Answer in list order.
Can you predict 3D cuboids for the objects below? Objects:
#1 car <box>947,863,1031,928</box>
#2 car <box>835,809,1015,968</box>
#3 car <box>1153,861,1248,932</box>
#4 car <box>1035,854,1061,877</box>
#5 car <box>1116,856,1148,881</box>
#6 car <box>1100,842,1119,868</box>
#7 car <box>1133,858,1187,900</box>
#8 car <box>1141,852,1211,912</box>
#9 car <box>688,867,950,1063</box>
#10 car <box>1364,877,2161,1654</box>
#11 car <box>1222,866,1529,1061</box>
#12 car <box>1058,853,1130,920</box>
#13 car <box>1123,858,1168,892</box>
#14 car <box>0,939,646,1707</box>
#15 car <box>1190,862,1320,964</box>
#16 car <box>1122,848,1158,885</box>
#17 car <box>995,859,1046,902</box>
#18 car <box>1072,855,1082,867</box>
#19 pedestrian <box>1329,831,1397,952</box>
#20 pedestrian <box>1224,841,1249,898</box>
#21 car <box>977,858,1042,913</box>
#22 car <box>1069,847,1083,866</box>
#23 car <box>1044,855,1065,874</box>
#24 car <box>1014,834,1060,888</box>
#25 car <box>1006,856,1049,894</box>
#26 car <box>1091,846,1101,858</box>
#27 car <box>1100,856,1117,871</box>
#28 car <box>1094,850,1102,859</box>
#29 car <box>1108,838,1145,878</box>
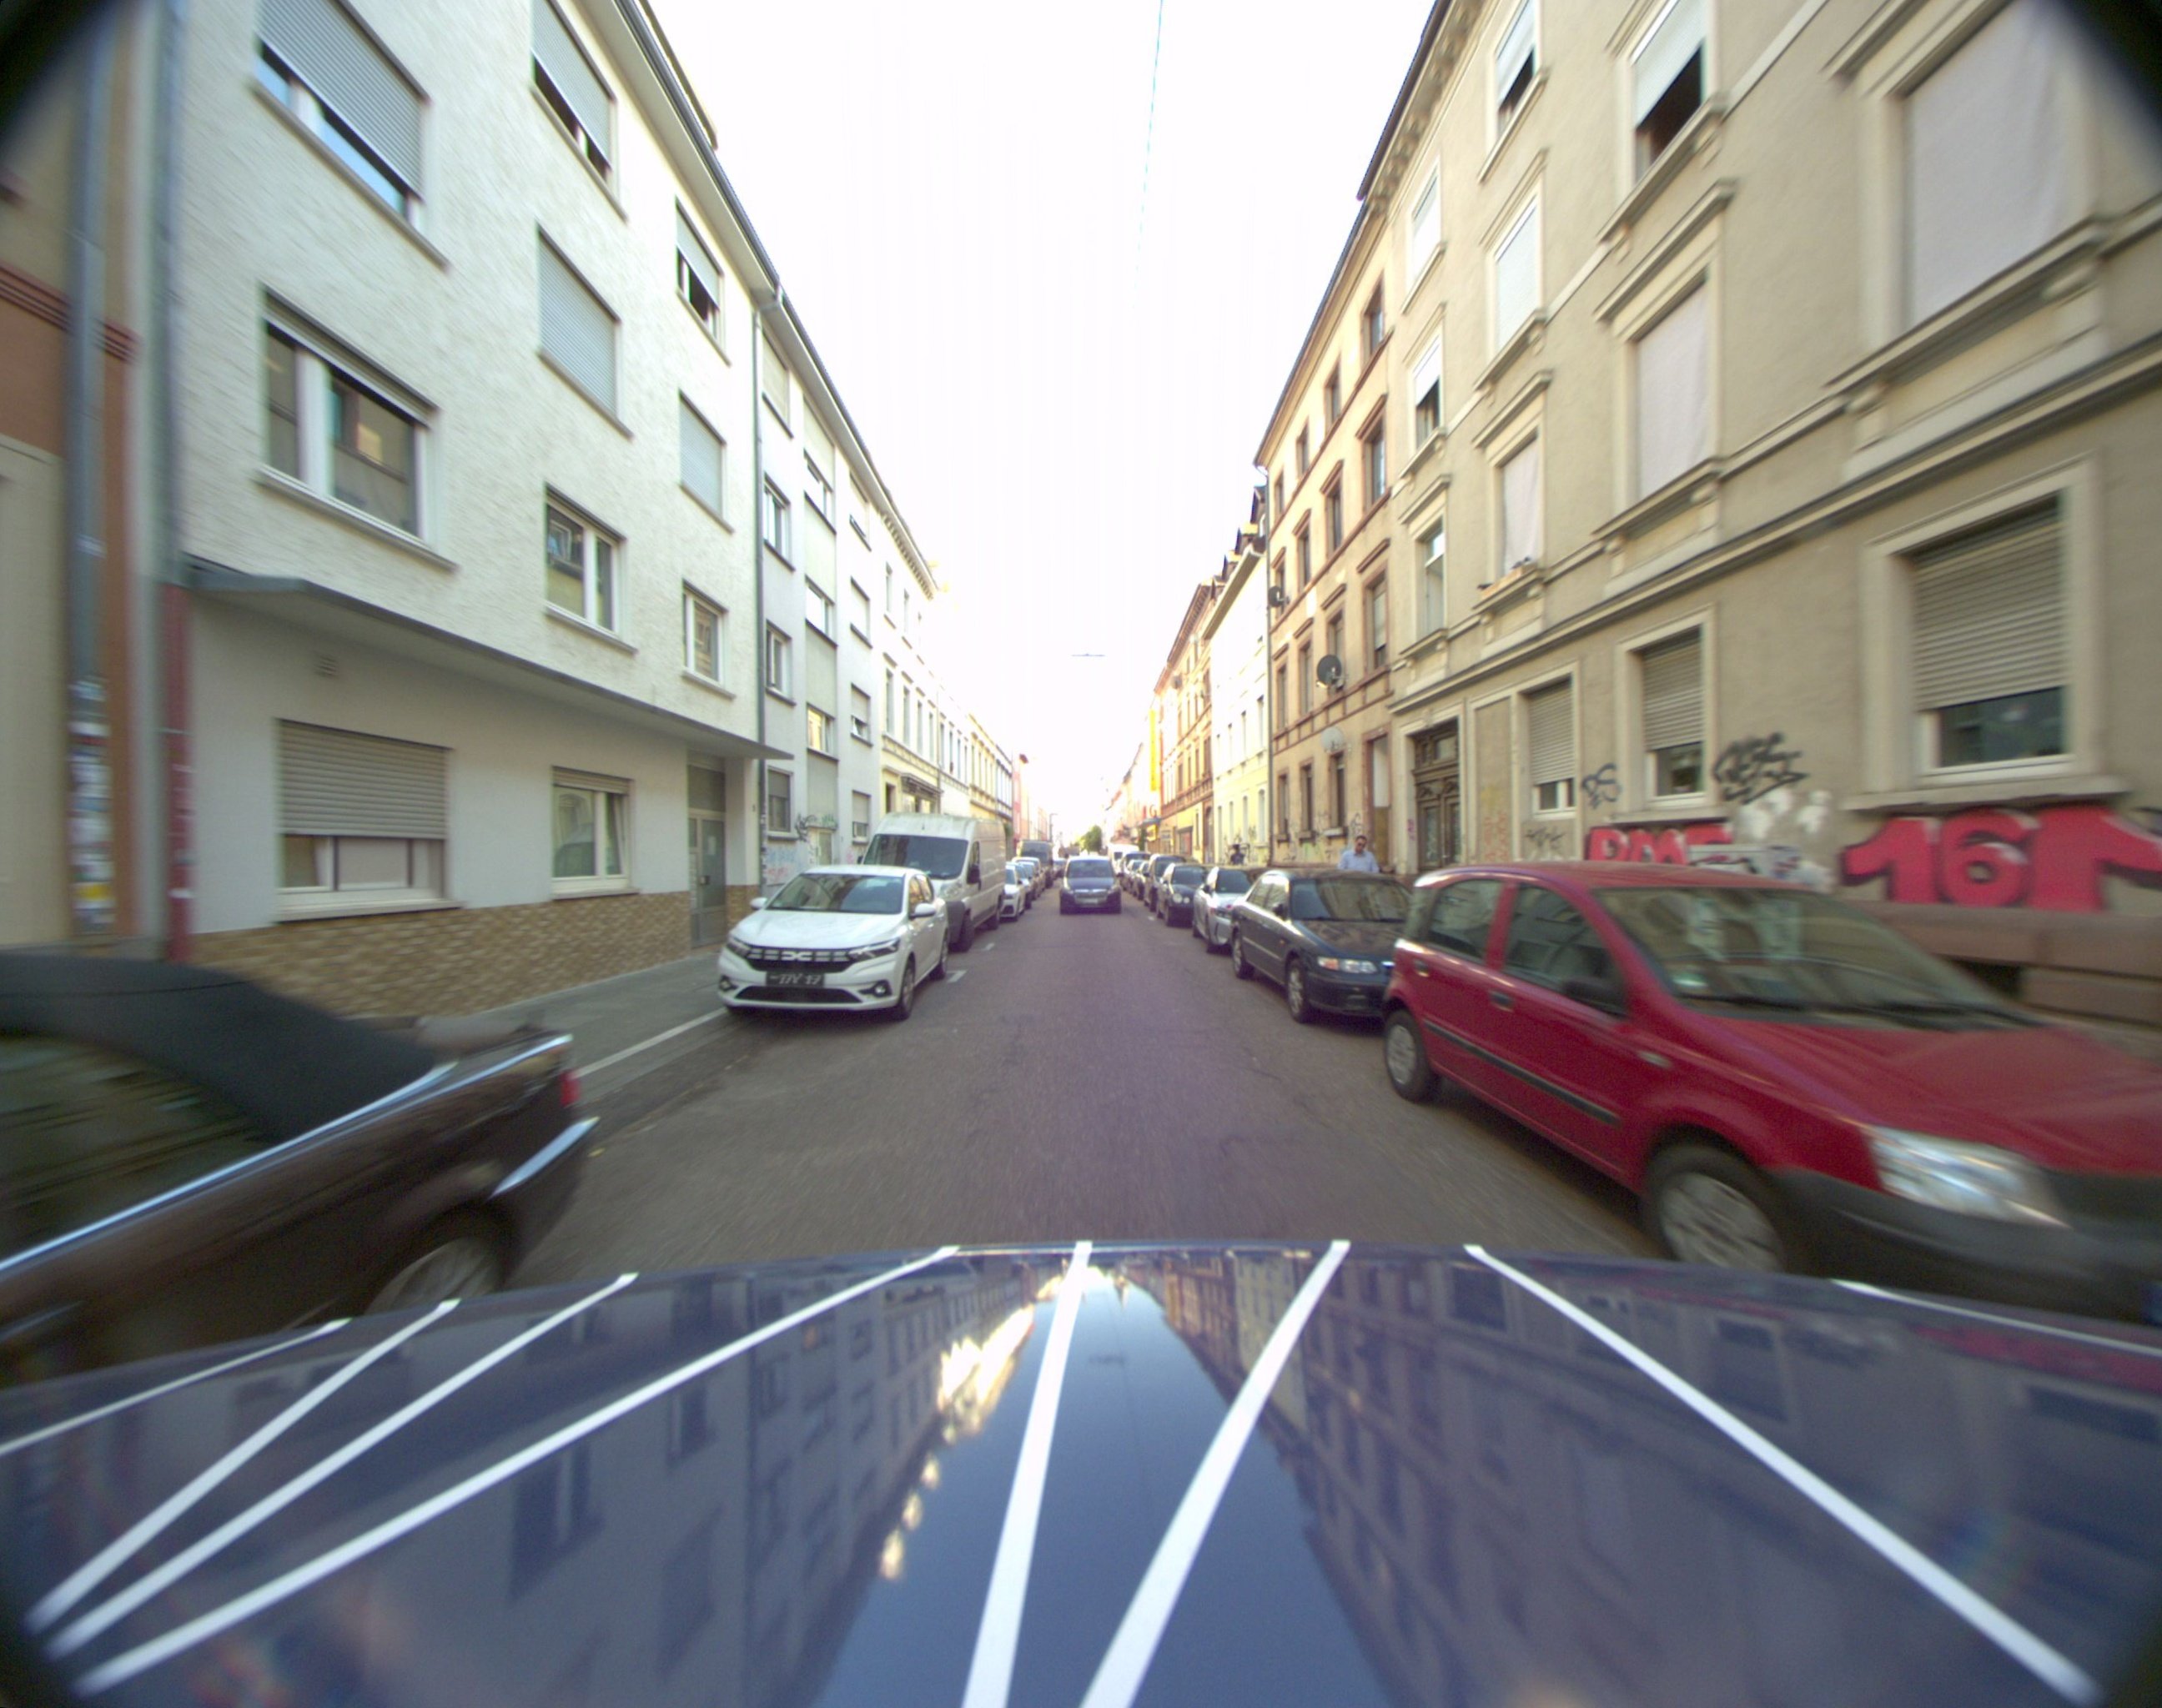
[{"bbox_3d":[-2.360,1.036,20.348,1.683,1.434,3.860,-2,0,0],"label":"car"},{"bbox_3d":[-2.792,0.545,15.315,2.050,2.498,6.024,-2,0,2],"label":"car"},{"bbox_3d":[2.747,0.922,18.198,1.683,1.454,3.860,-1,0,0],"label":"car"},{"bbox_3d":[-2.384,0.822,56.289,1.683,1.588,3.859,-2,0,0],"label":"car"},{"bbox_3d":[3.052,0.849,46.243,1.683,1.381,3.860,-1,0,0],"label":"car"},{"bbox_3d":[2.756,0.082,73.593,1.683,2.352,4.098,-1,0,0],"label":"car"},{"bbox_3d":[2.962,0.898,29.207,1.683,1.448,3.860,-1,0,0],"label":"car"},{"bbox_3d":[2.867,0.804,23.577,1.683,1.674,3.860,-1,0,0],"label":"car"},{"bbox_3d":[-2.598,0.990,8.515,1.684,1.550,3.859,-2,0,-3],"label":"car"},{"bbox_3d":[2.845,0.919,3.421,1.683,1.483,3.611,-1,0,-2],"label":"car"},{"bbox_3d":[2.764,0.917,8.246,1.683,1.454,4.312,-1,0,0],"label":"car"},{"bbox_3d":[0.320,0.835,22.251,1.798,1.652,5.183,-2,0,0],"label":"car"},{"bbox_3d":[2.849,0.910,34.248,1.683,1.407,3.860,-1,0,0],"label":"car"},{"bbox_3d":[-2.613,1.069,0.737,1.772,1.386,4.494,-2,0,-1],"label":"car"},{"bbox_3d":[2.886,0.914,13.346,1.683,1.454,3.861,-1,0,5],"label":"car"},{"bbox_3d":[3.119,0.620,40.961,1.752,1.880,4.772,-1,0,2],"label":"car"},{"bbox_3d":[-2.358,0.997,30.338,1.683,1.511,3.859,-2,0,0],"label":"car"},{"bbox_3d":[-0.677,1.201,130.746,1.683,2.077,4.159,-2,0,0],"label":"car"},{"bbox_3d":[4.410,0.574,11.913,0.790,1.820,0.594,-2,1,0],"label":"pedestrian"},{"bbox_3d":[5.117,0.507,24.999,0.626,1.820,0.594,-2,1,1],"label":"pedestrian"},{"bbox_3d":[-2.295,0.973,25.175,1.683,1.556,3.860,-2,0,1],"label":"car"},{"bbox_3d":[-0.920,0.454,137.552,2.437,3.404,5.543,-2,0,0],"label":"car"},{"bbox_3d":[-2.375,0.929,69.117,1.683,1.588,3.859,-2,0,0],"label":"car"},{"bbox_3d":[-2.325,0.367,41.790,2.050,2.662,6.185,-2,0,0],"label":"car"},{"bbox_3d":[-2.439,0.936,35.622,1.683,1.626,3.859,-2,0,0],"label":"car"},{"bbox_3d":[3.924,-0.660,202.852,2.565,3.029,7.061,-2,0,0],"label":"car"},{"bbox_3d":[2.826,0.978,79.650,1.683,1.381,3.860,-1,0,0],"label":"car"},{"bbox_3d":[3.787,0.065,172.765,1.683,1.851,4.159,-2,0,0],"label":"car"},{"bbox_3d":[3.072,0.236,52.280,2.094,2.576,5.842,-1,0,-1],"label":"car"}]
